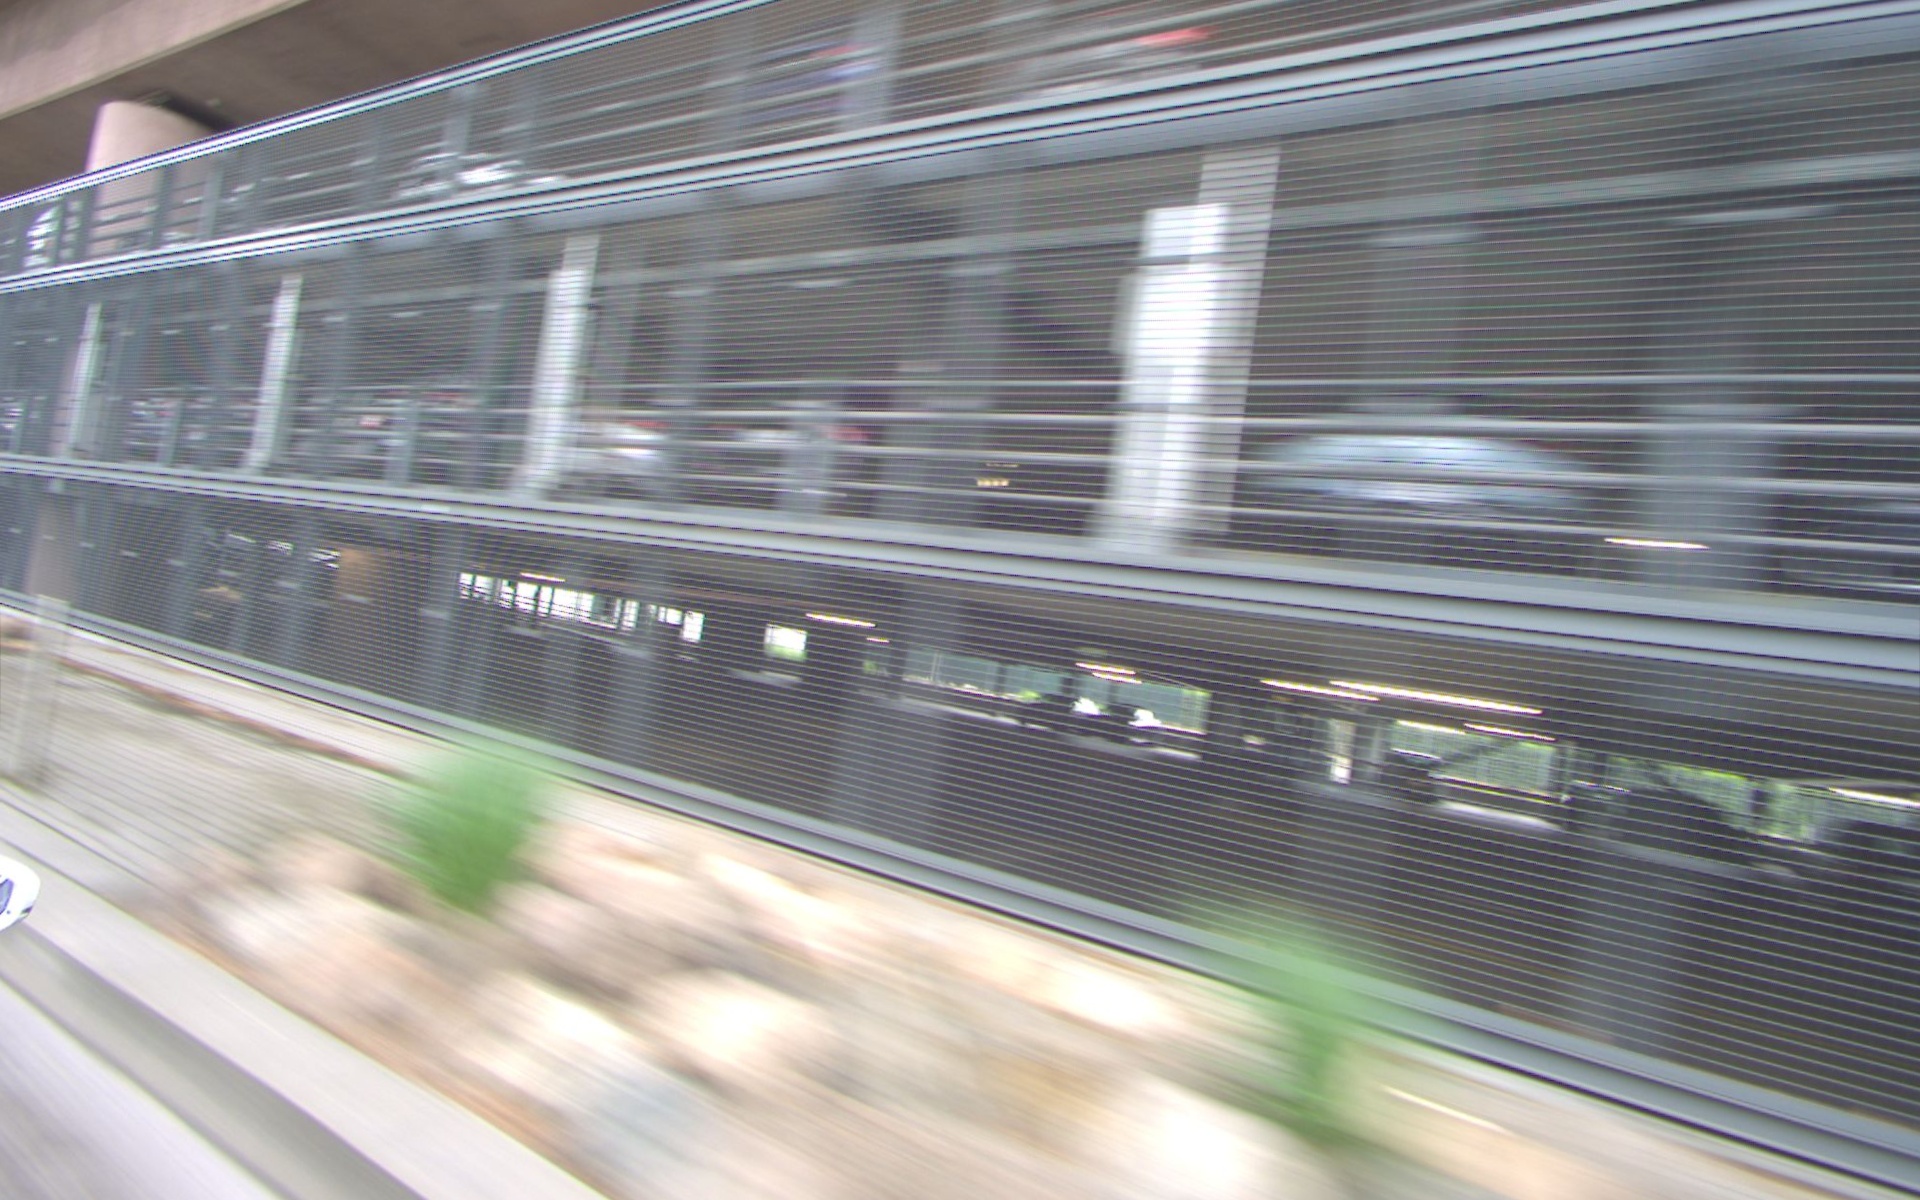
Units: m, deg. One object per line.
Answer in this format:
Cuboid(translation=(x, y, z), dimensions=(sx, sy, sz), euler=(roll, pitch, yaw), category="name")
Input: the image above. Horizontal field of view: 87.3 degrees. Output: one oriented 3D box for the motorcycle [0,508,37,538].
Cuboid(translation=(-47.810, -3.909, 51.066), dimensions=(2.289, 1.118, 0.573), euler=(12, 0, 29), category="motorcycle")
